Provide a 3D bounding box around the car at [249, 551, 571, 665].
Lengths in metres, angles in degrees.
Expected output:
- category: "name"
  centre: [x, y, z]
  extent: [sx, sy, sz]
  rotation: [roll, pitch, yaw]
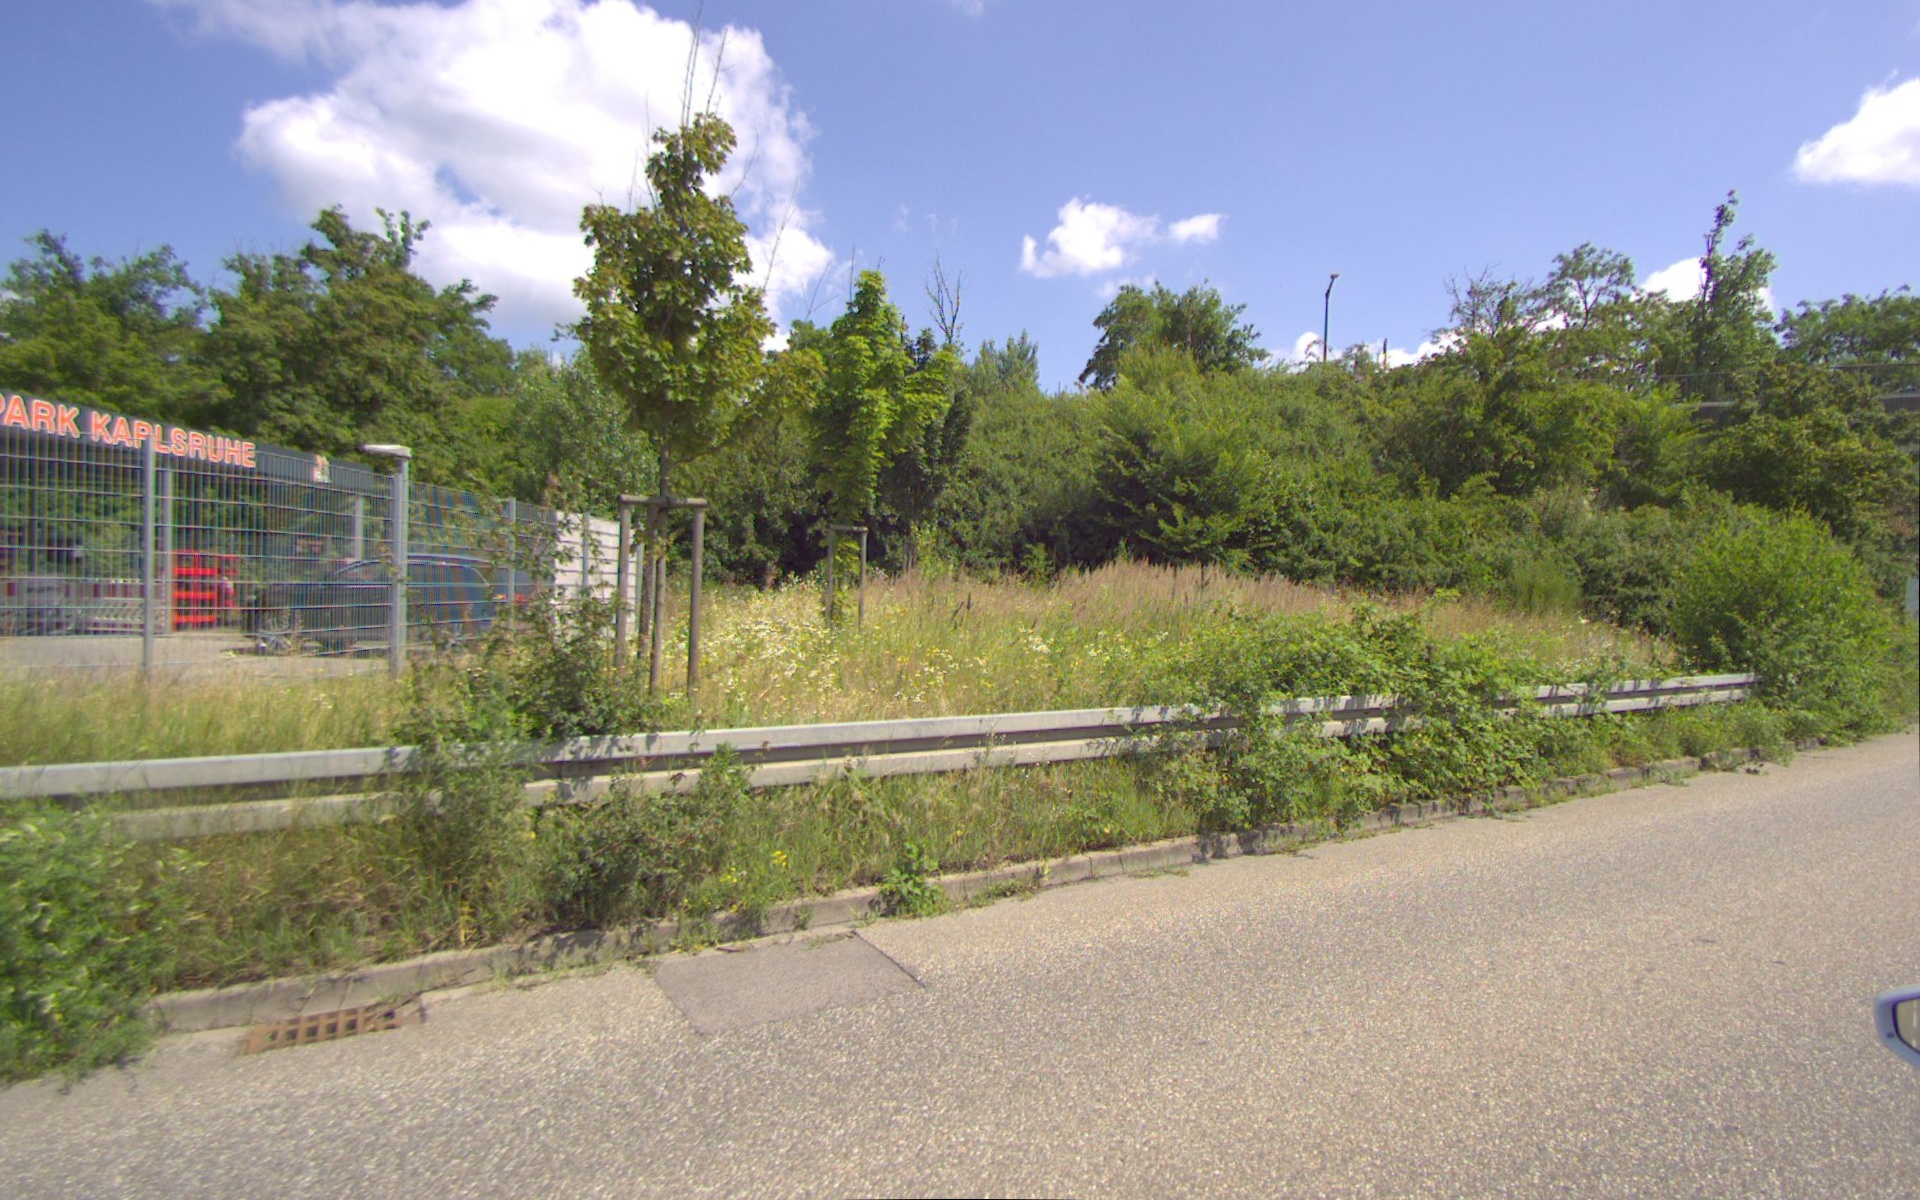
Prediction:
- category: "car"
  centre: [-9.383, 0.105, 17.429]
  extent: [4.457, 1.716, 2.000]
  rotation: [2, 2, 0]
